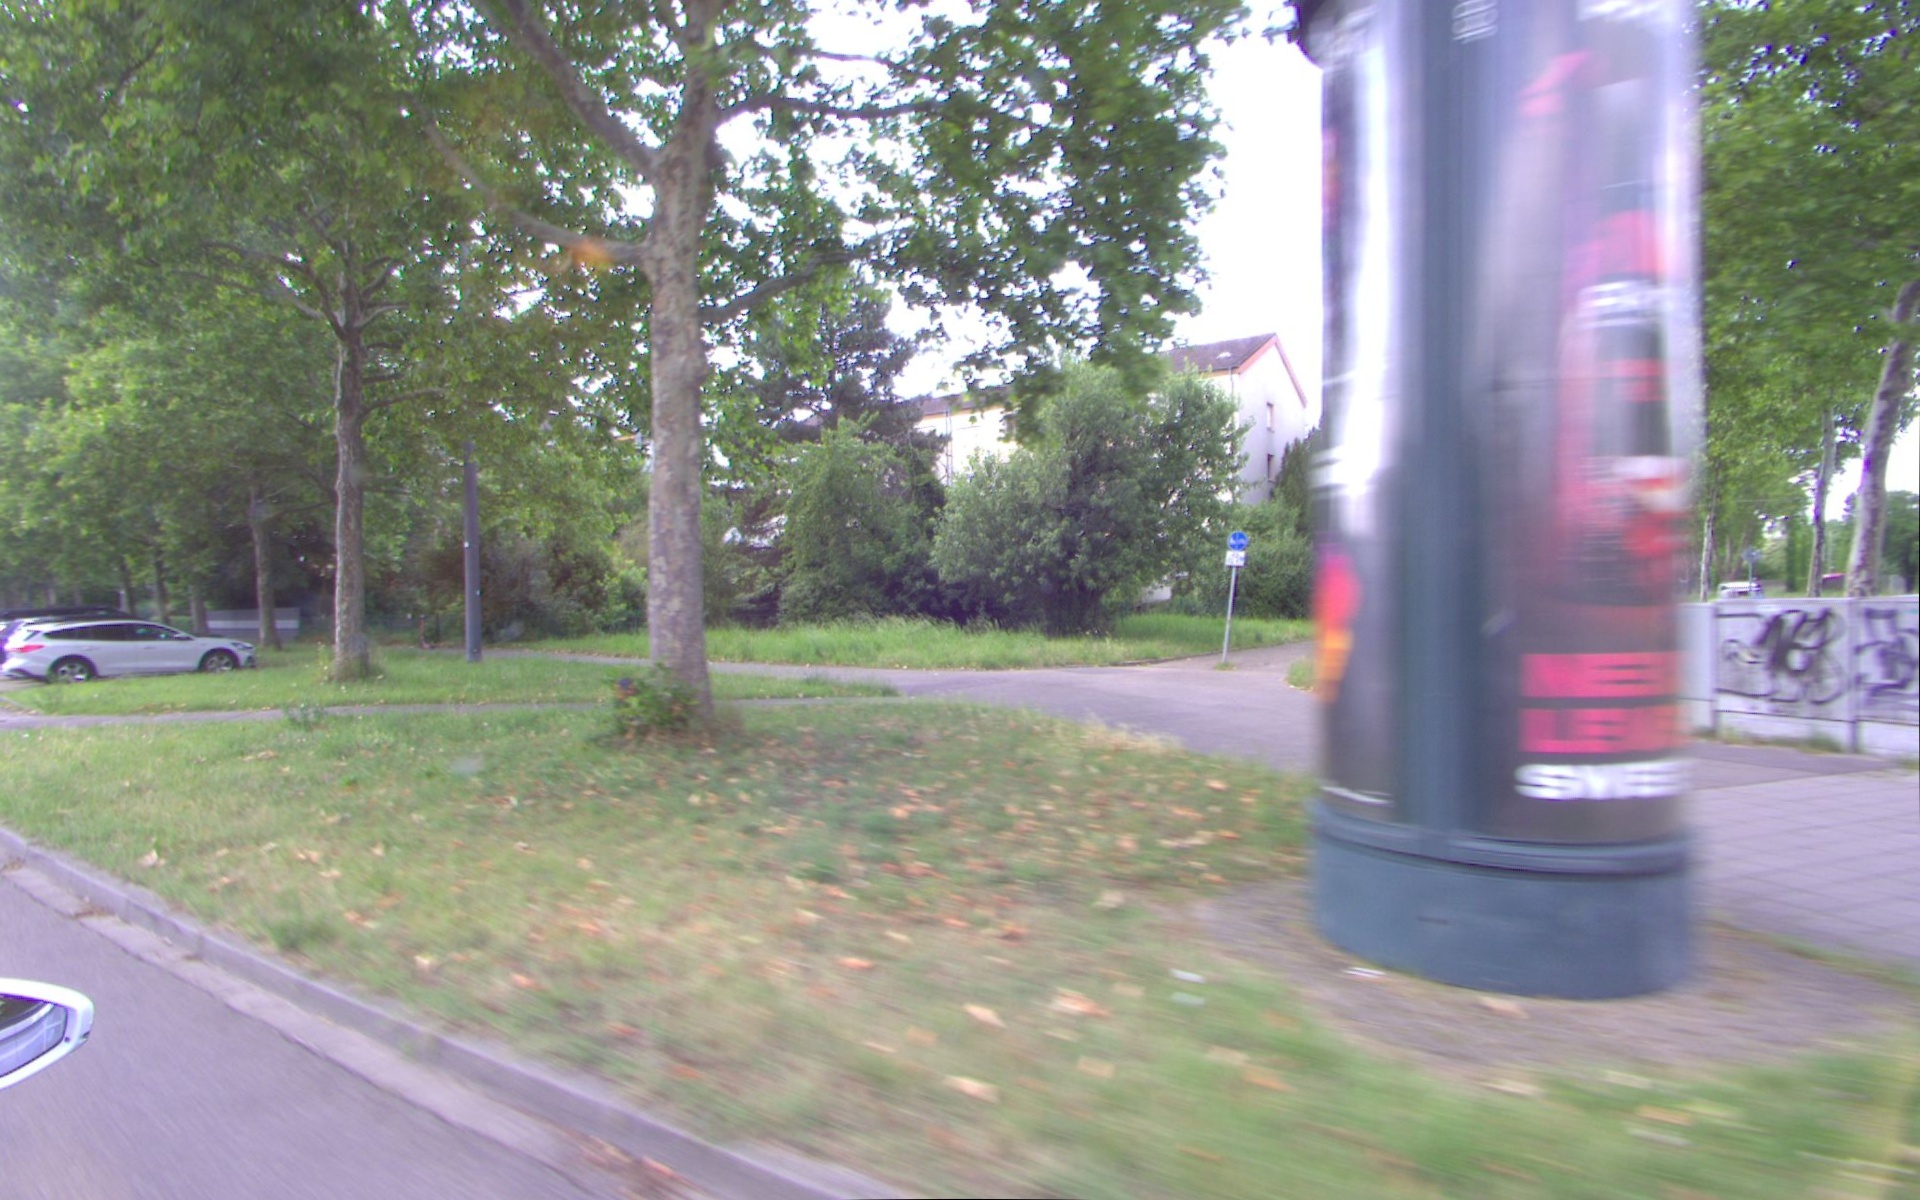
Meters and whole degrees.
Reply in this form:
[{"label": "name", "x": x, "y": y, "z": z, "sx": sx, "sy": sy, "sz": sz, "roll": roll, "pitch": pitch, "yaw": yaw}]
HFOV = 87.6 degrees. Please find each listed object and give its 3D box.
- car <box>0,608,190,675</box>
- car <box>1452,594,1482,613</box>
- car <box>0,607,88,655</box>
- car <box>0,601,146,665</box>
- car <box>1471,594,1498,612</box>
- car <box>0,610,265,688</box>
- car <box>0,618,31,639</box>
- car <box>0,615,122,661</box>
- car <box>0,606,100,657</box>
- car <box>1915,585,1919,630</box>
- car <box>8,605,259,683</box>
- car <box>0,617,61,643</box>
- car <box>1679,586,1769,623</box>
[{"label": "car", "x": -24.986, "y": 1.140, "z": 28.744, "sx": 4.351, "sy": 1.661, "sz": 1.739, "roll": -2, "pitch": 1, "yaw": -44}, {"label": "car", "x": 37.894, "y": 0.250, "z": 74.885, "sx": 1.656, "sy": 1.409, "sz": 3.287, "roll": -1, "pitch": 0, "yaw": 33}, {"label": "car", "x": -43.072, "y": 1.427, "z": 45.807, "sx": 1.834, "sy": 2.071, "sz": 4.523, "roll": -1, "pitch": 1, "yaw": 40}, {"label": "car", "x": -33.055, "y": 1.178, "z": 36.902, "sx": 1.836, "sy": 2.152, "sz": 4.518, "roll": -1, "pitch": 1, "yaw": 43}, {"label": "car", "x": 43.046, "y": 0.213, "z": 82.207, "sx": 1.656, "sy": 1.409, "sz": 3.287, "roll": -1, "pitch": 0, "yaw": 33}, {"label": "car", "x": -19.495, "y": 1.078, "z": 23.741, "sx": 1.826, "sy": 1.493, "sz": 4.635, "roll": -1, "pitch": 1, "yaw": 40}, {"label": "car", "x": -76.984, "y": 2.310, "z": 79.458, "sx": 1.834, "sy": 1.630, "sz": 4.523, "roll": -1, "pitch": 1, "yaw": 40}, {"label": "car", "x": -37.654, "y": 1.552, "z": 41.258, "sx": 1.834, "sy": 1.683, "sz": 4.524, "roll": -1, "pitch": 1, "yaw": 39}, {"label": "car", "x": -39.808, "y": 1.356, "z": 42.643, "sx": 1.834, "sy": 2.027, "sz": 4.523, "roll": -1, "pitch": 1, "yaw": 40}, {"label": "car", "x": 33.216, "y": 0.237, "z": 32.316, "sx": 1.967, "sy": 1.533, "sz": 4.672, "roll": -2, "pitch": 0, "yaw": 24}, {"label": "car", "x": -20.888, "y": 1.041, "z": 25.490, "sx": 1.826, "sy": 1.648, "sz": 4.635, "roll": -1, "pitch": 1, "yaw": 40}, {"label": "car", "x": -63.716, "y": 2.025, "z": 67.433, "sx": 1.834, "sy": 1.630, "sz": 4.523, "roll": -1, "pitch": 1, "yaw": 40}, {"label": "car", "x": 34.028, "y": 0.177, "z": 44.725, "sx": 1.966, "sy": 1.533, "sz": 4.674, "roll": -2, "pitch": 0, "yaw": 22}]
